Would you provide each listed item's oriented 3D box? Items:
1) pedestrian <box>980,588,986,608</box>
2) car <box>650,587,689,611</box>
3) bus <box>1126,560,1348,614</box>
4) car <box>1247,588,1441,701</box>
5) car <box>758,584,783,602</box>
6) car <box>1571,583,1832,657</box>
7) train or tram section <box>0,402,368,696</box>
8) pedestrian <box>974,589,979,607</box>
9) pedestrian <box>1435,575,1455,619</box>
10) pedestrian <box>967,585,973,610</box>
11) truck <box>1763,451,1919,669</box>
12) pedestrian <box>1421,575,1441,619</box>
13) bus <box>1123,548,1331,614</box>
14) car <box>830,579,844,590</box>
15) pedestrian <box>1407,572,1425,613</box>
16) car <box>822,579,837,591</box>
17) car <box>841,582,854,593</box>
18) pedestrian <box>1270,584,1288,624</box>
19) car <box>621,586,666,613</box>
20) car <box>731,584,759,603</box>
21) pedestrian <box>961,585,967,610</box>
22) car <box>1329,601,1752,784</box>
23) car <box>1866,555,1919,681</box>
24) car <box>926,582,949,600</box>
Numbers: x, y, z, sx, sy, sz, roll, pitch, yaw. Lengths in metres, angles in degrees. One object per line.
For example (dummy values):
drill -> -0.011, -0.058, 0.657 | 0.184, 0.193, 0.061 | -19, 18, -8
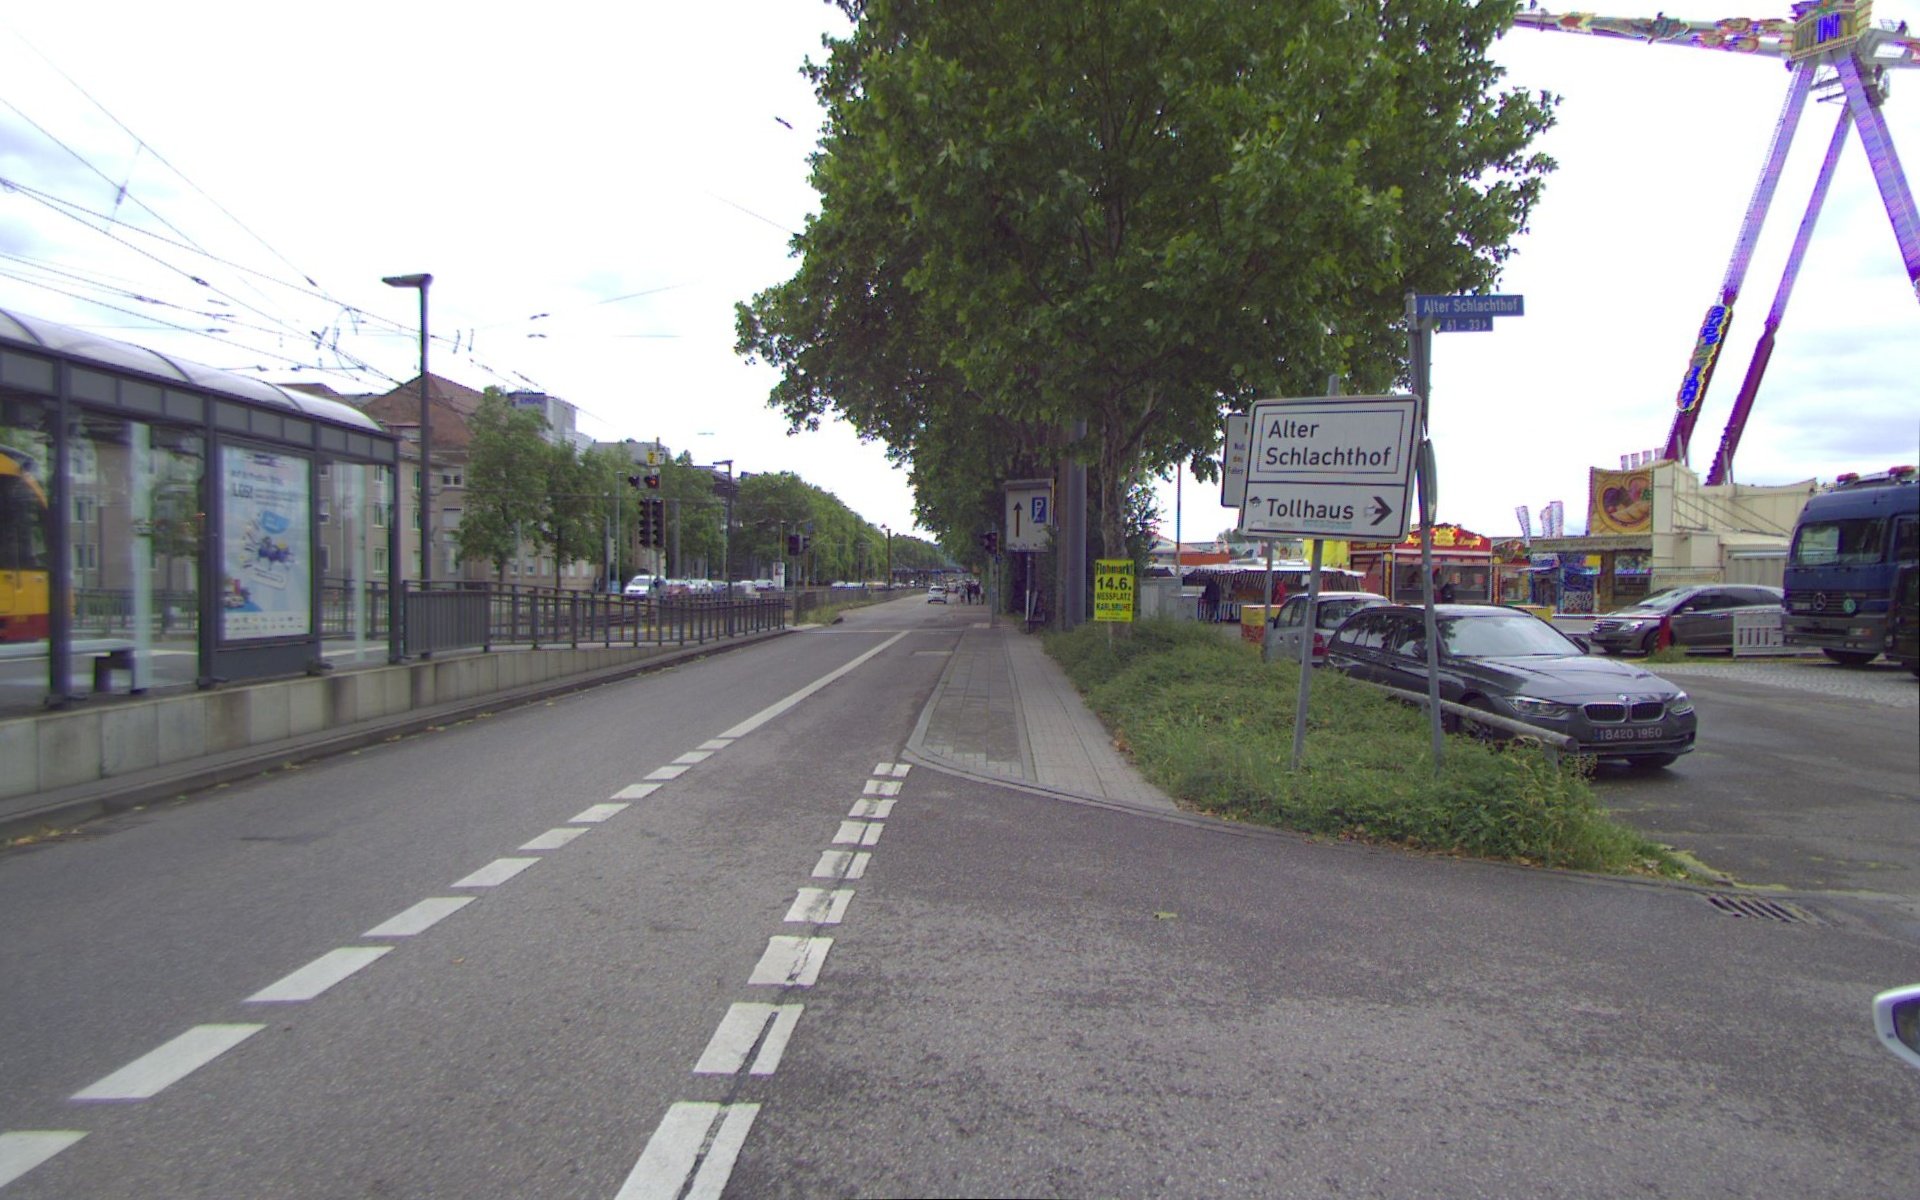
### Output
pedestrian -> 1.836, -0.176, 81.333 | 0.390, 1.606, 0.537 | 0, 1, -9
car -> -21.811, -0.083, 75.551 | 1.961, 1.818, 3.998 | 0, 0, -2
bus -> 11.930, -0.541, 43.608 | 9.125, 2.257, 2.000 | 0, 1, -1
car -> 6.072, 0.621, 16.410 | 1.831, 1.615, 4.001 | 0, 0, 3
car -> -19.667, -0.683, 104.224 | 1.961, 1.818, 3.998 | 0, 0, -2
car -> 16.798, 0.426, 22.936 | 4.498, 1.596, 2.000 | 0, 1, 0
train or tram section -> -15.361, -0.752, 15.732 | 3.127, 4.235, 14.735 | 0, 0, 1
pedestrian -> 1.334, -0.178, 81.408 | 0.389, 1.464, 0.563 | 0, 1, -1
pedestrian -> 19.090, -0.120, 39.521 | 0.515, 1.709, 0.492 | 0, 1, -15
pedestrian -> 0.861, -0.196, 83.368 | 0.389, 2.041, 0.403 | 0, 1, 17
truck -> 20.408, -0.716, 19.175 | 8.055, 3.874, 2.600 | 0, 1, 0
pedestrian -> 18.452, -0.108, 39.324 | 0.515, 1.709, 0.492 | 0, 1, -15
bus -> 12.312, -0.878, 46.696 | 9.125, 2.999, 2.000 | 0, 1, -1
car -> -19.453, -2.419, 158.912 | 1.961, 1.818, 3.998 | 0, 0, -2
pedestrian -> 18.948, -0.321, 41.724 | 0.484, 1.709, 0.523 | 0, 1, -1
car -> -19.979, -2.271, 153.793 | 1.961, 1.818, 3.998 | 0, 0, -2
car -> -19.657, -2.214, 176.180 | 1.961, 1.818, 3.998 | 0, 0, -2
pedestrian -> 11.892, 0.152, 37.499 | 0.484, 1.482, 0.523 | 0, 1, -1
car -> -21.874, -0.039, 69.538 | 1.961, 1.818, 3.998 | 0, 0, -2
car -> -21.056, -0.605, 98.450 | 1.961, 1.818, 3.998 | 0, 0, -2
pedestrian -> 0.349, -0.198, 83.485 | 0.389, 2.041, 0.403 | 0, 1, 17
car -> 5.462, 0.749, 10.166 | 1.833, 1.450, 3.998 | 0, 0, -3
car -> 17.696, 0.257, 16.124 | 4.498, 2.041, 2.000 | -1, 2, 0
car -> -1.943, -0.805, 87.920 | 1.810, 1.573, 4.001 | 0, 1, 3
